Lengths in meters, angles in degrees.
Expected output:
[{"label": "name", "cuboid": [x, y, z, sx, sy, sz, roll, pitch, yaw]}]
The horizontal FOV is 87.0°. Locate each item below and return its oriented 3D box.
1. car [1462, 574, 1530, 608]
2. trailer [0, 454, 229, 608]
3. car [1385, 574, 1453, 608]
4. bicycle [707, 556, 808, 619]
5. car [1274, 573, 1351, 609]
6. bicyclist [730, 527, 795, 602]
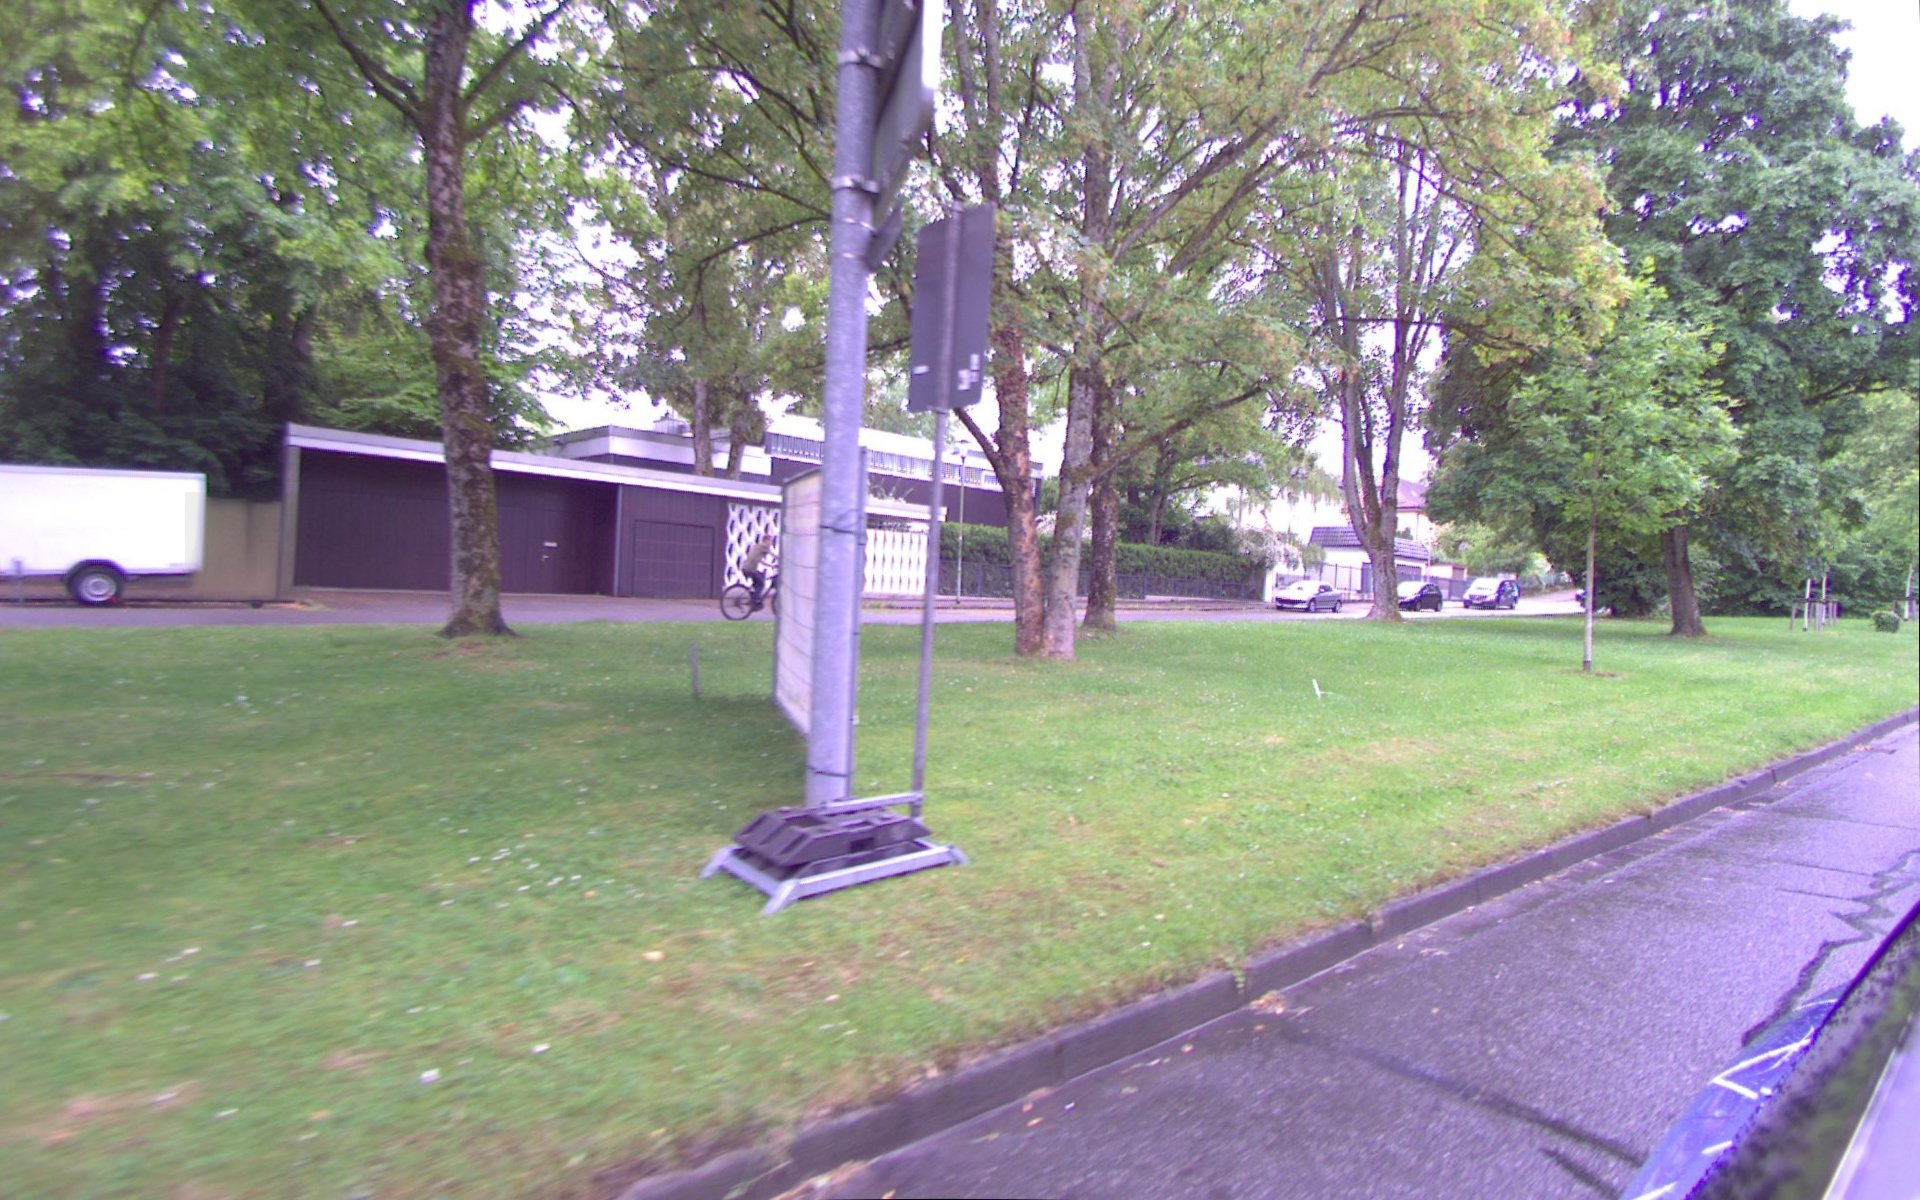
[{"label": "car", "cuboid": [32.791, -0.604, 61.869, 4.986, 1.901, 2.162, -1, 4, -44]}, {"label": "trailer", "cuboid": [-13.322, -1.017, 15.793, 1.437, 2.181, 2.903, 4, 2, 44]}, {"label": "car", "cuboid": [24.159, -0.507, 53.197, 3.969, 1.644, 1.904, -1, 4, -44]}, {"label": "bicycle", "cuboid": [-3.872, -0.246, 19.404, 1.830, 1.152, 0.596, 0, 2, -41]}, {"label": "car", "cuboid": [15.628, -0.416, 44.791, 3.648, 1.392, 1.684, -1, 5, -44]}, {"label": "bicyclist", "cuboid": [-3.796, -0.676, 19.439, 0.982, 1.408, 0.746, 0, 2, -40]}]
